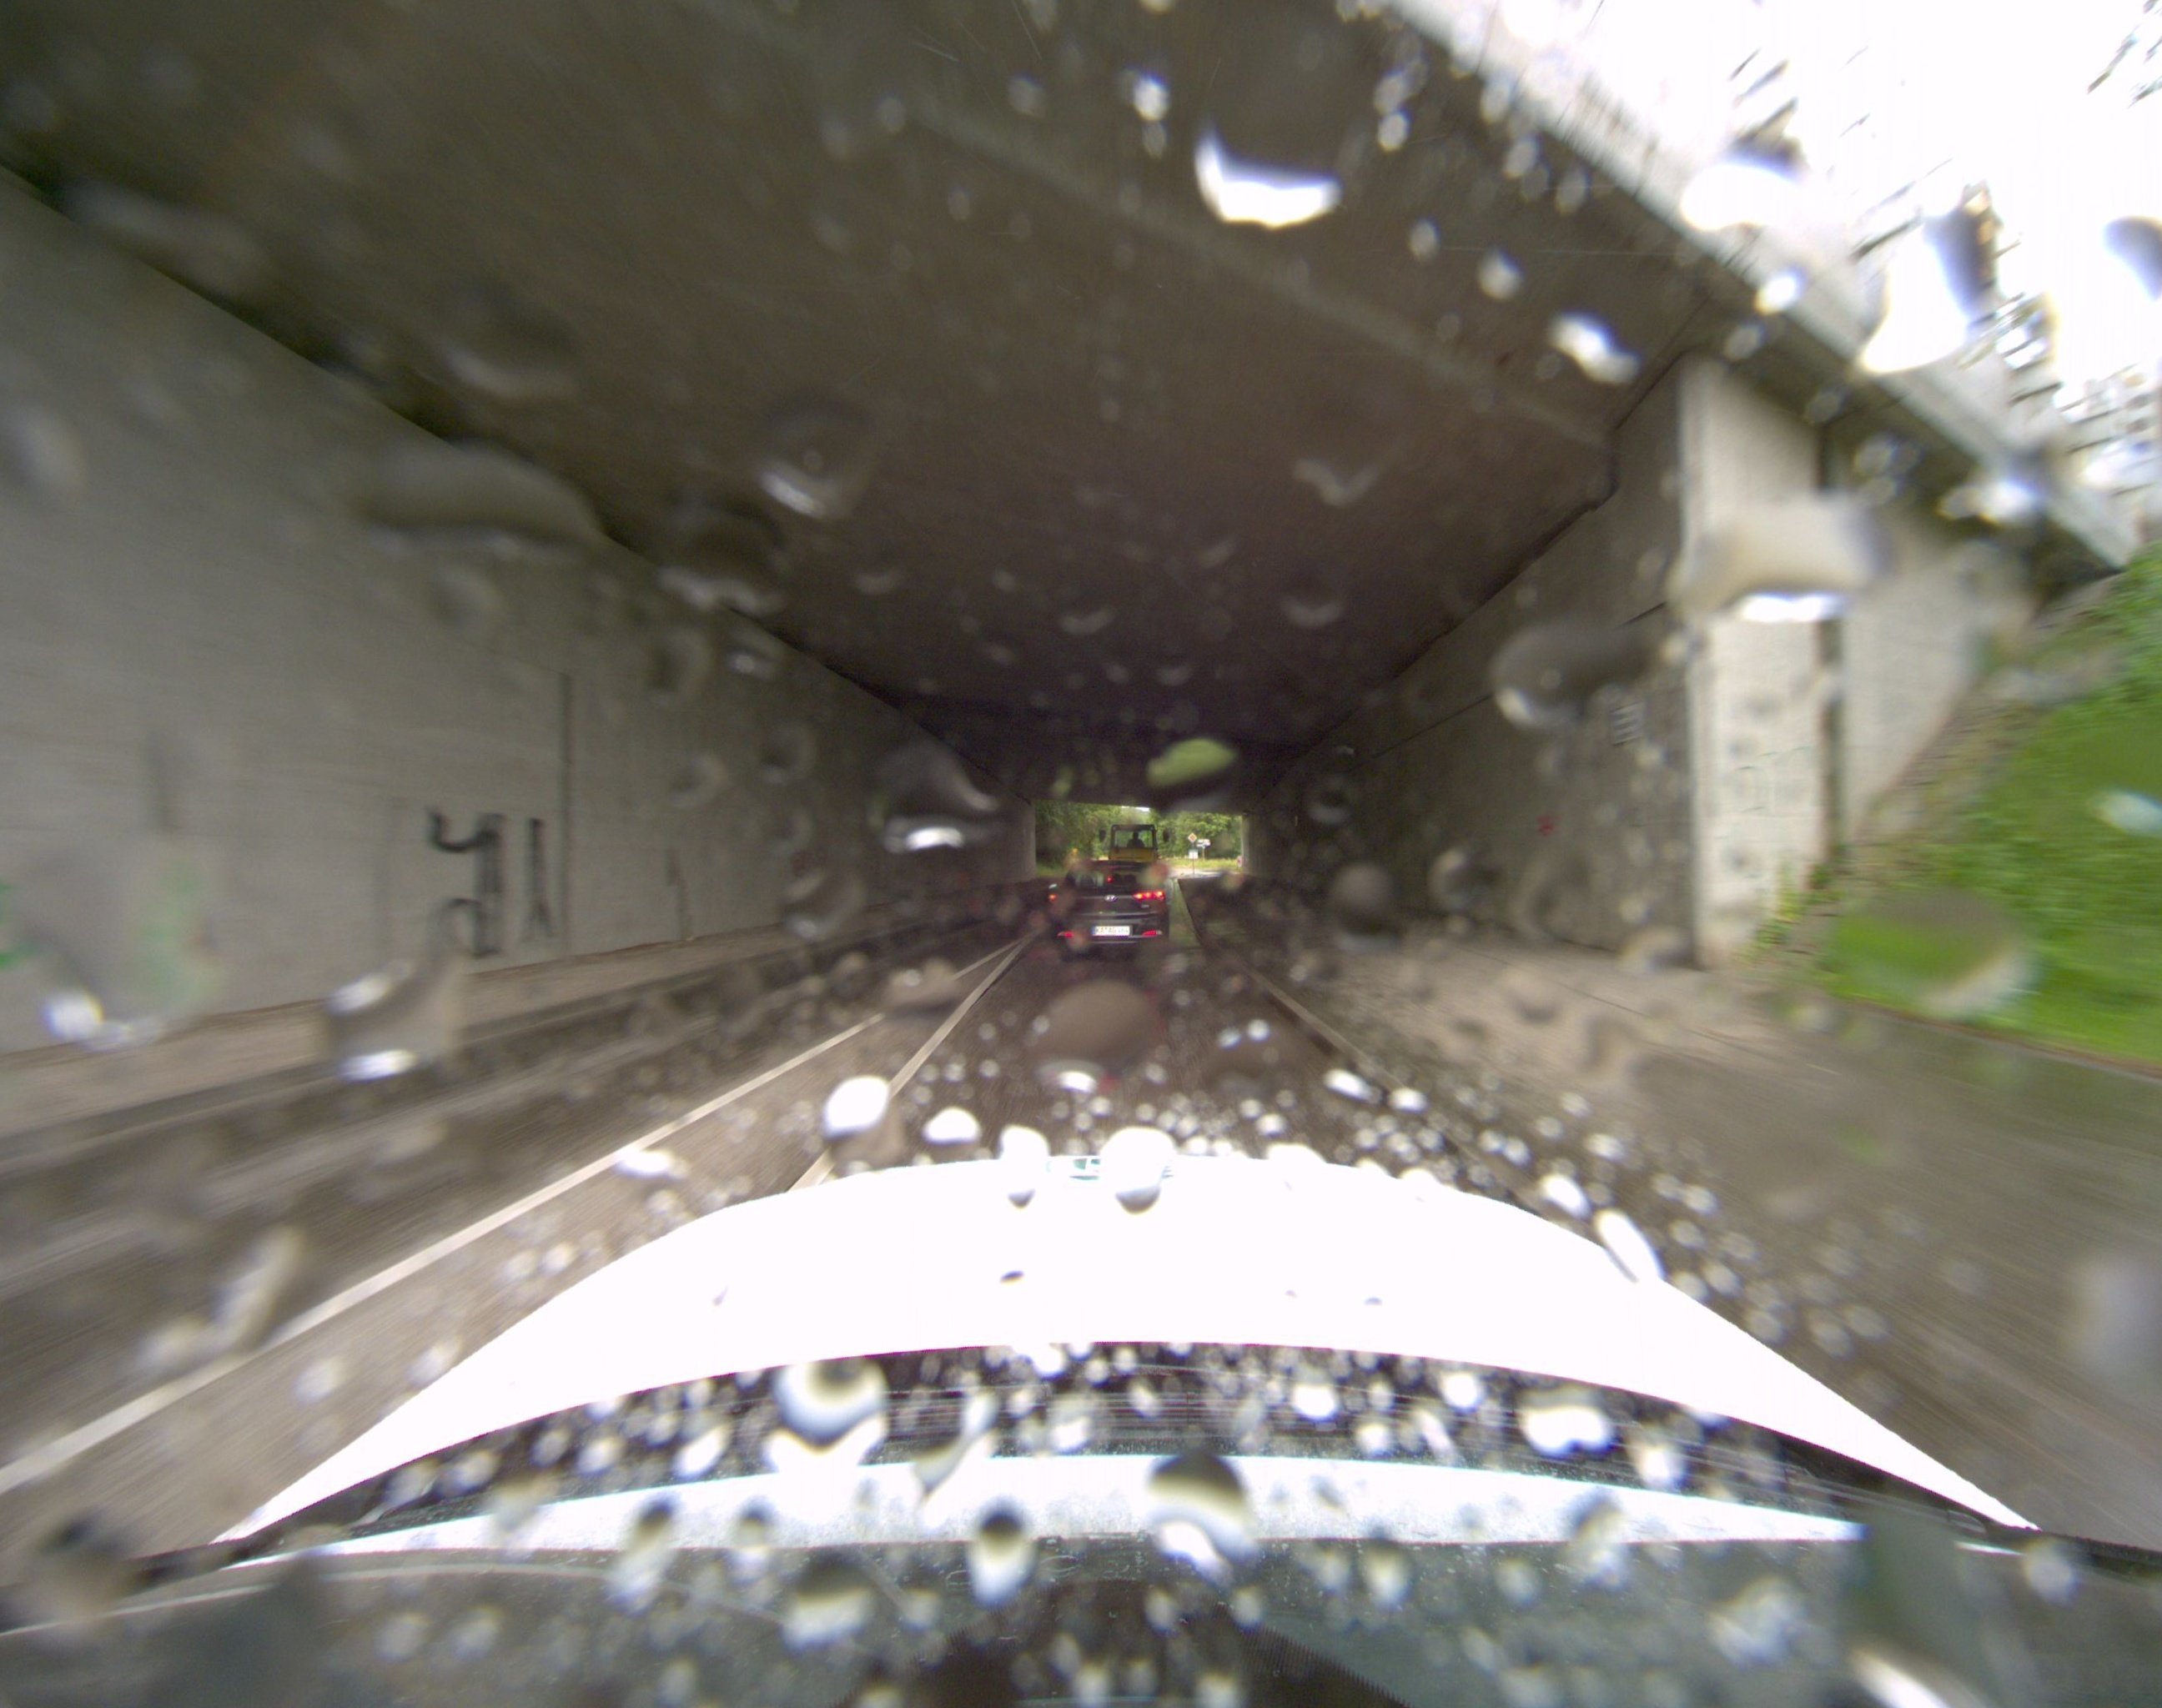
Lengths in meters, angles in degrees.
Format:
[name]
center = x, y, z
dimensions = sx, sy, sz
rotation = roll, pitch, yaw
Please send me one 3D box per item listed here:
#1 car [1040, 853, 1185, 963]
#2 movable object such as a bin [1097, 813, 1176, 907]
[car]
center = 0.532, 0.742, 13.201
dimensions = 1.985, 1.487, 4.003
rotation = 1, 0, 3
[movable object such as a bin]
center = 1.745, 0.175, 26.601
dimensions = 2.236, 2.669, 6.631
rotation = 1, 0, 3
